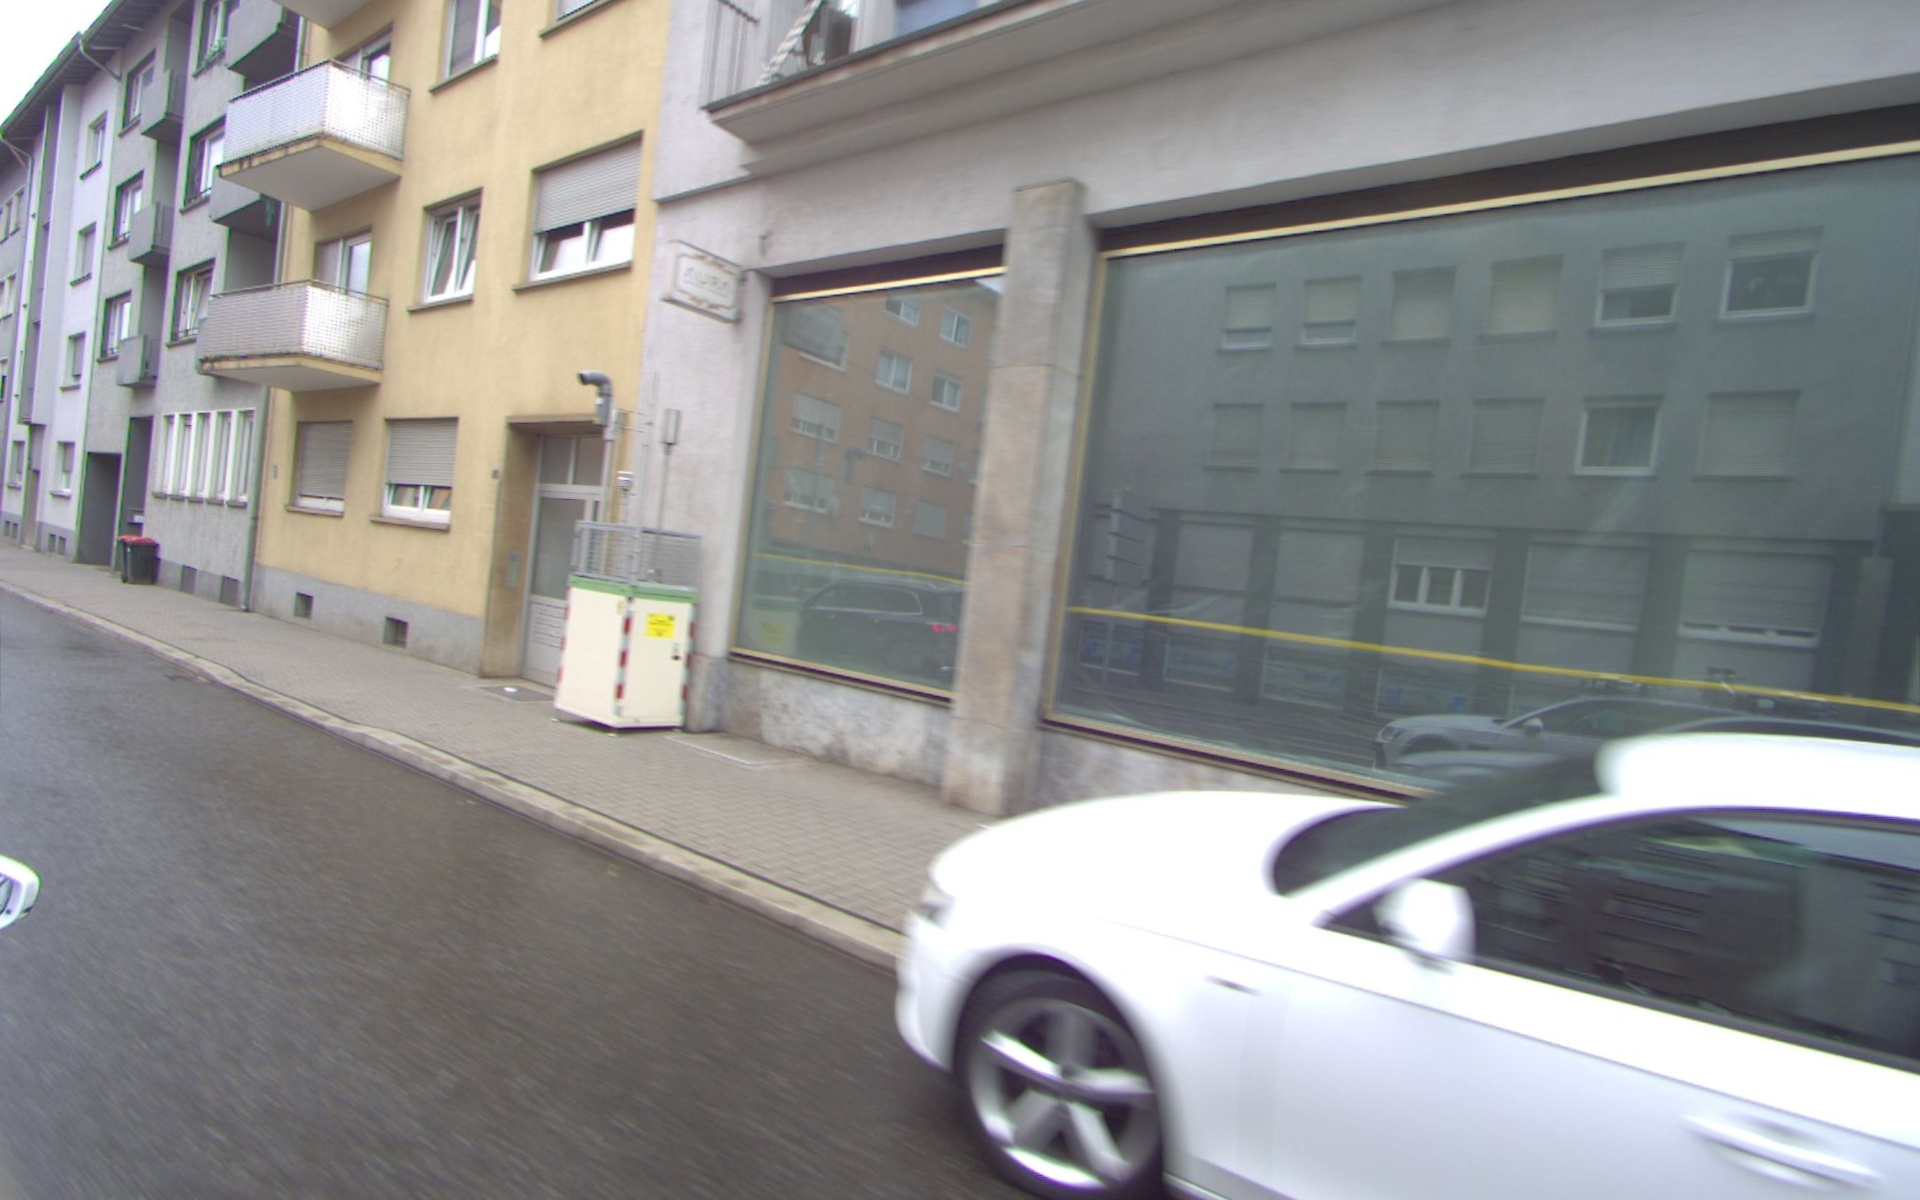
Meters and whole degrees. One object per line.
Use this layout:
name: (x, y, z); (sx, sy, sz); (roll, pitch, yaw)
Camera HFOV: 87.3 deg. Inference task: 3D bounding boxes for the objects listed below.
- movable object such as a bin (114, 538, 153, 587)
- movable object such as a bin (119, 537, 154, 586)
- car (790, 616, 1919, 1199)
movable object such as a bin: (-17.538, -0.795, 21.337); (0.468, 0.976, 0.561); (7, 4, 41)
movable object such as a bin: (-17.162, -0.804, 20.957); (0.556, 0.976, 0.471); (7, 4, 40)
car: (1.868, 1.004, 2.507); (4.538, 1.423, 1.889); (7, 5, 37)
